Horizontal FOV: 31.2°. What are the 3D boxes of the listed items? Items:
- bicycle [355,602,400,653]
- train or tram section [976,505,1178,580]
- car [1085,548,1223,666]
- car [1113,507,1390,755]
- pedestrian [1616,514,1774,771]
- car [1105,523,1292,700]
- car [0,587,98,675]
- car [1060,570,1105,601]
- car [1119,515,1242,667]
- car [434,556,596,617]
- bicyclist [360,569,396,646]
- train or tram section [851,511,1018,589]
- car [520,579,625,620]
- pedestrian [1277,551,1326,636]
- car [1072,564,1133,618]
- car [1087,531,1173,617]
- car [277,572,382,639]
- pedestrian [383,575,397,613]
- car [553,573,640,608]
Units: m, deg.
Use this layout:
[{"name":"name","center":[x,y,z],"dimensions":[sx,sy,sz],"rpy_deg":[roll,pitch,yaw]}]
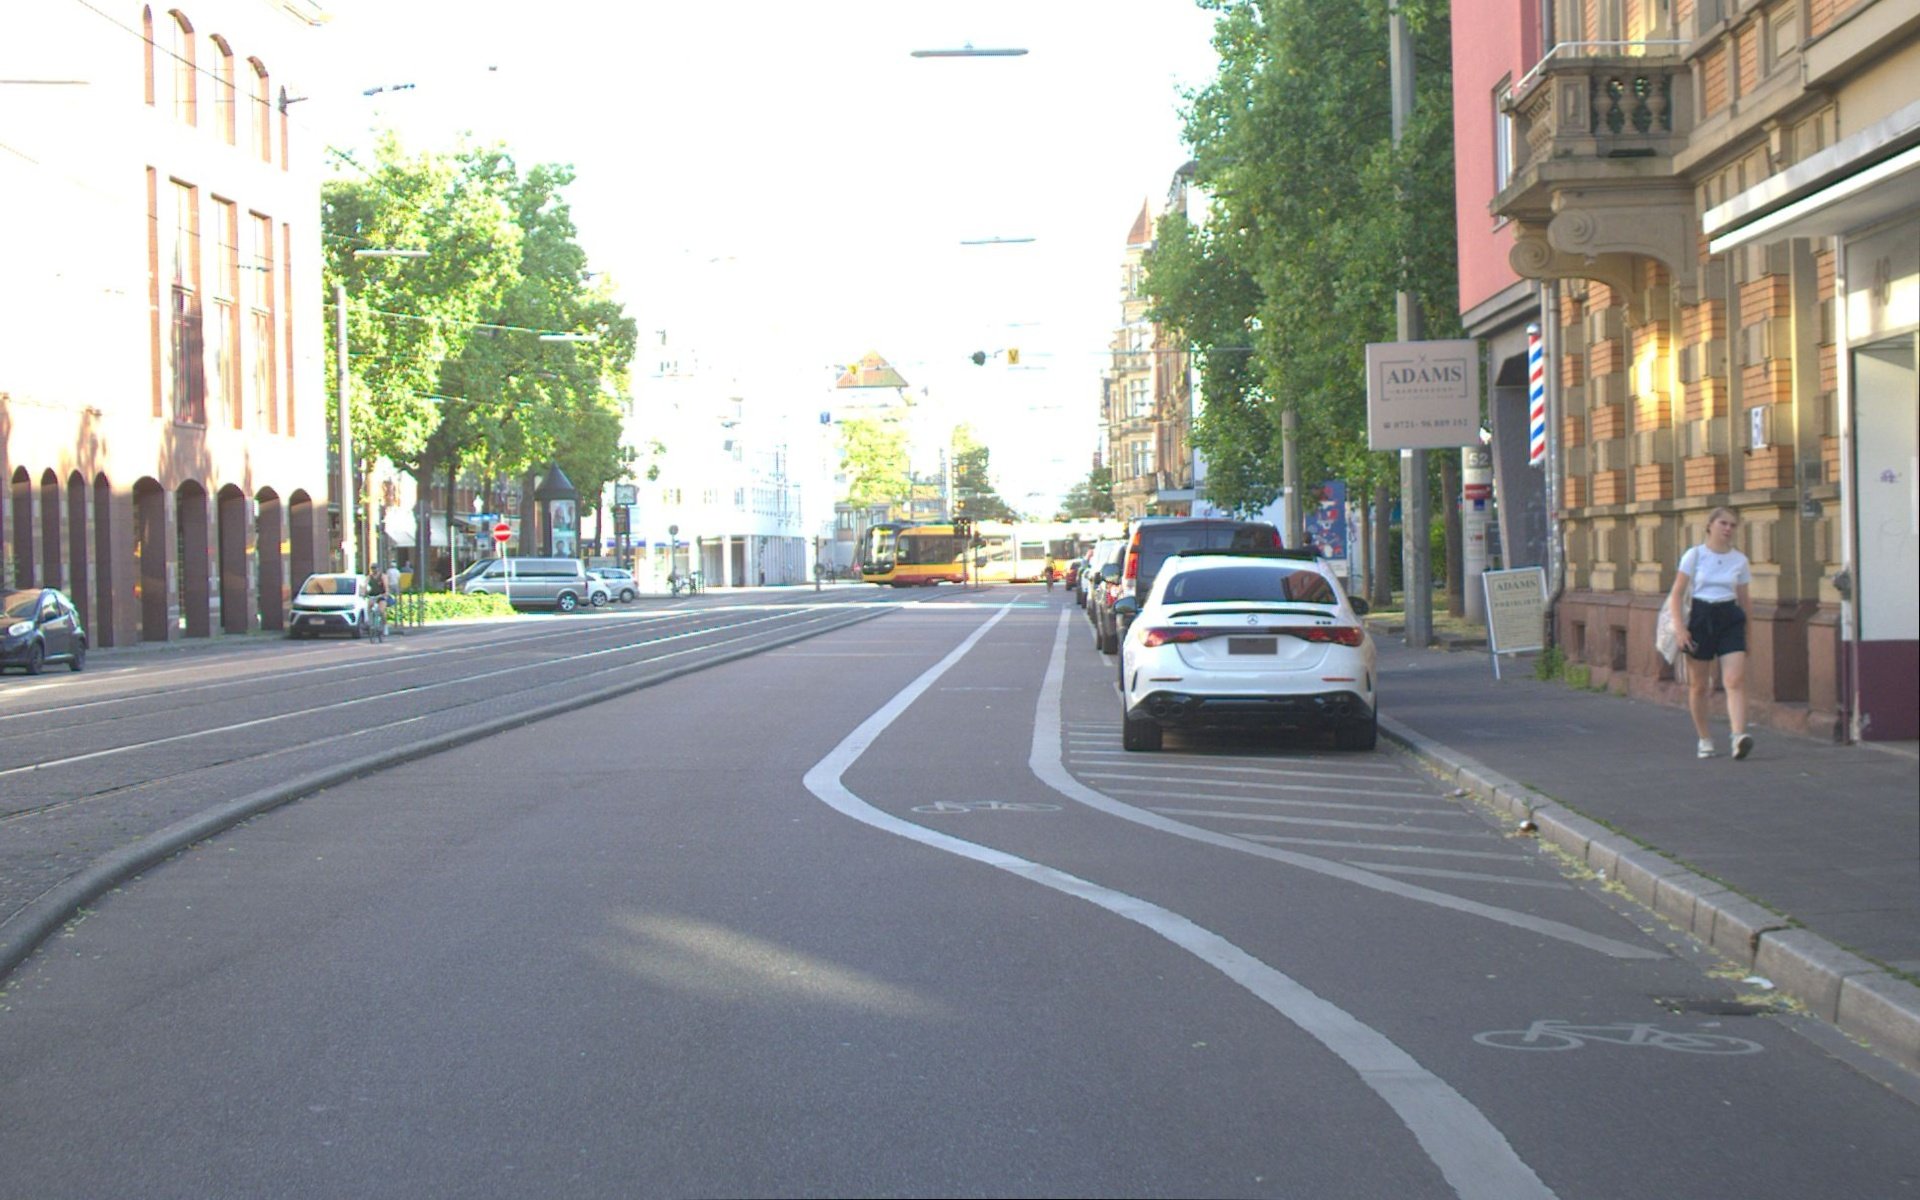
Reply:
[{"name":"bicycle","center":[-13.068,0.611,77.177],"dimensions":[0.582,1.074,2.185],"rpy_deg":[-3,0,0]},{"name":"train or tram section","center":[6.741,-3.228,195.256],"dimensions":[12.805,3.865,2.700],"rpy_deg":[1,1,-39]},{"name":"car","center":[3.049,0.090,55.015],"dimensions":[1.949,1.782,5.181],"rpy_deg":[1,0,1]},{"name":"car","center":[2.194,0.202,27.056],"dimensions":[1.967,1.765,4.875],"rpy_deg":[0,0,3]},{"name":"pedestrian","center":[4.700,0.264,22.038],"dimensions":[0.776,1.561,0.913],"rpy_deg":[-4,0,5]},{"name":"car","center":[2.655,0.099,38.911],"dimensions":[1.955,1.862,4.988],"rpy_deg":[0,1,3]},{"name":"car","center":[-16.225,0.504,58.697],"dimensions":[1.869,1.445,3.583],"rpy_deg":[0,0,5]},{"name":"car","center":[5.783,-0.685,162.977],"dimensions":[2.065,1.384,4.225],"rpy_deg":[2,0,2]},{"name":"car","center":[3.206,-0.123,49.534],"dimensions":[1.705,2.112,3.706],"rpy_deg":[0,0,5]},{"name":"car","center":[-15.977,-0.461,123.483],"dimensions":[5.251,2.036,2.419],"rpy_deg":[1,-1,-30]},{"name":"bicyclist","center":[-13.081,0.160,77.260],"dimensions":[0.571,1.706,0.745],"rpy_deg":[-3,0,2]},{"name":"train or tram section","center":[-1.279,-2.679,186.232],"dimensions":[2.697,3.946,12.066],"rpy_deg":[2,1,34]},{"name":"car","center":[-16.097,-0.016,142.779],"dimensions":[3.868,1.622,1.876],"rpy_deg":[1,0,-29]},{"name":"pedestrian","center":[6.505,-0.125,65.512],"dimensions":[0.776,1.561,0.913],"rpy_deg":[-4,0,3]},{"name":"car","center":[4.268,-0.288,103.417],"dimensions":[1.723,1.562,4.083],"rpy_deg":[-2,0,1]},{"name":"car","center":[4.182,-0.643,84.640],"dimensions":[1.971,2.007,4.558],"rpy_deg":[-2,0,3]},{"name":"car","center":[-15.589,0.116,85.196],"dimensions":[1.869,1.594,4.254],"rpy_deg":[0,1,-1]},{"name":"pedestrian","center":[-19.923,-0.211,120.155],"dimensions":[0.362,1.339,0.483],"rpy_deg":[1,0,-18]},{"name":"car","center":[-16.194,-0.418,153.108],"dimensions":[3.519,1.476,1.582],"rpy_deg":[1,0,-30]}]
